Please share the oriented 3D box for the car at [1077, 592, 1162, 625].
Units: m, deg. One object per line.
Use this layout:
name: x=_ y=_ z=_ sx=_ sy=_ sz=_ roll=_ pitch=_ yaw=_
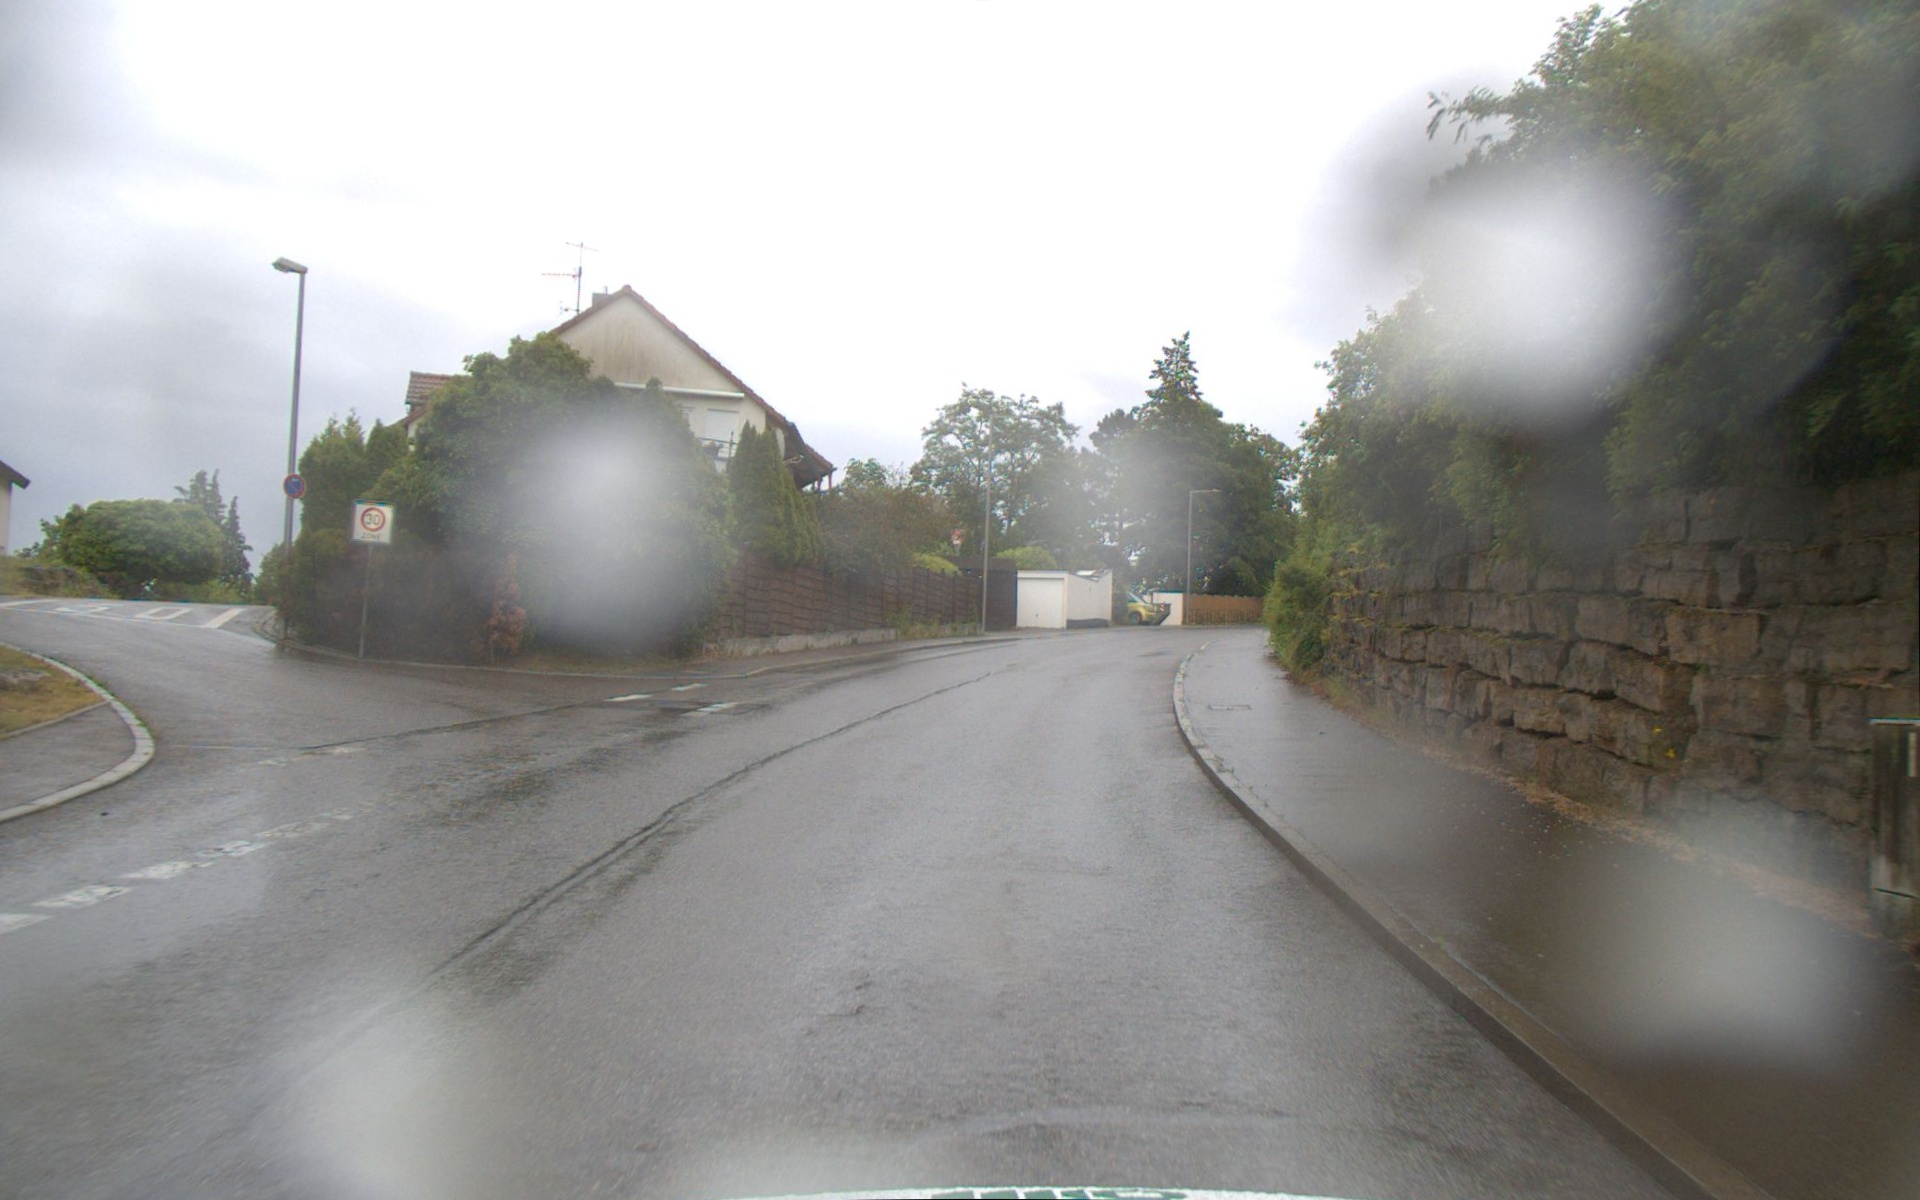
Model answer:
car: x=9.139 y=0.501 z=94.734 sx=4.413 sy=1.892 sz=2.088 roll=0 pitch=0 yaw=24
